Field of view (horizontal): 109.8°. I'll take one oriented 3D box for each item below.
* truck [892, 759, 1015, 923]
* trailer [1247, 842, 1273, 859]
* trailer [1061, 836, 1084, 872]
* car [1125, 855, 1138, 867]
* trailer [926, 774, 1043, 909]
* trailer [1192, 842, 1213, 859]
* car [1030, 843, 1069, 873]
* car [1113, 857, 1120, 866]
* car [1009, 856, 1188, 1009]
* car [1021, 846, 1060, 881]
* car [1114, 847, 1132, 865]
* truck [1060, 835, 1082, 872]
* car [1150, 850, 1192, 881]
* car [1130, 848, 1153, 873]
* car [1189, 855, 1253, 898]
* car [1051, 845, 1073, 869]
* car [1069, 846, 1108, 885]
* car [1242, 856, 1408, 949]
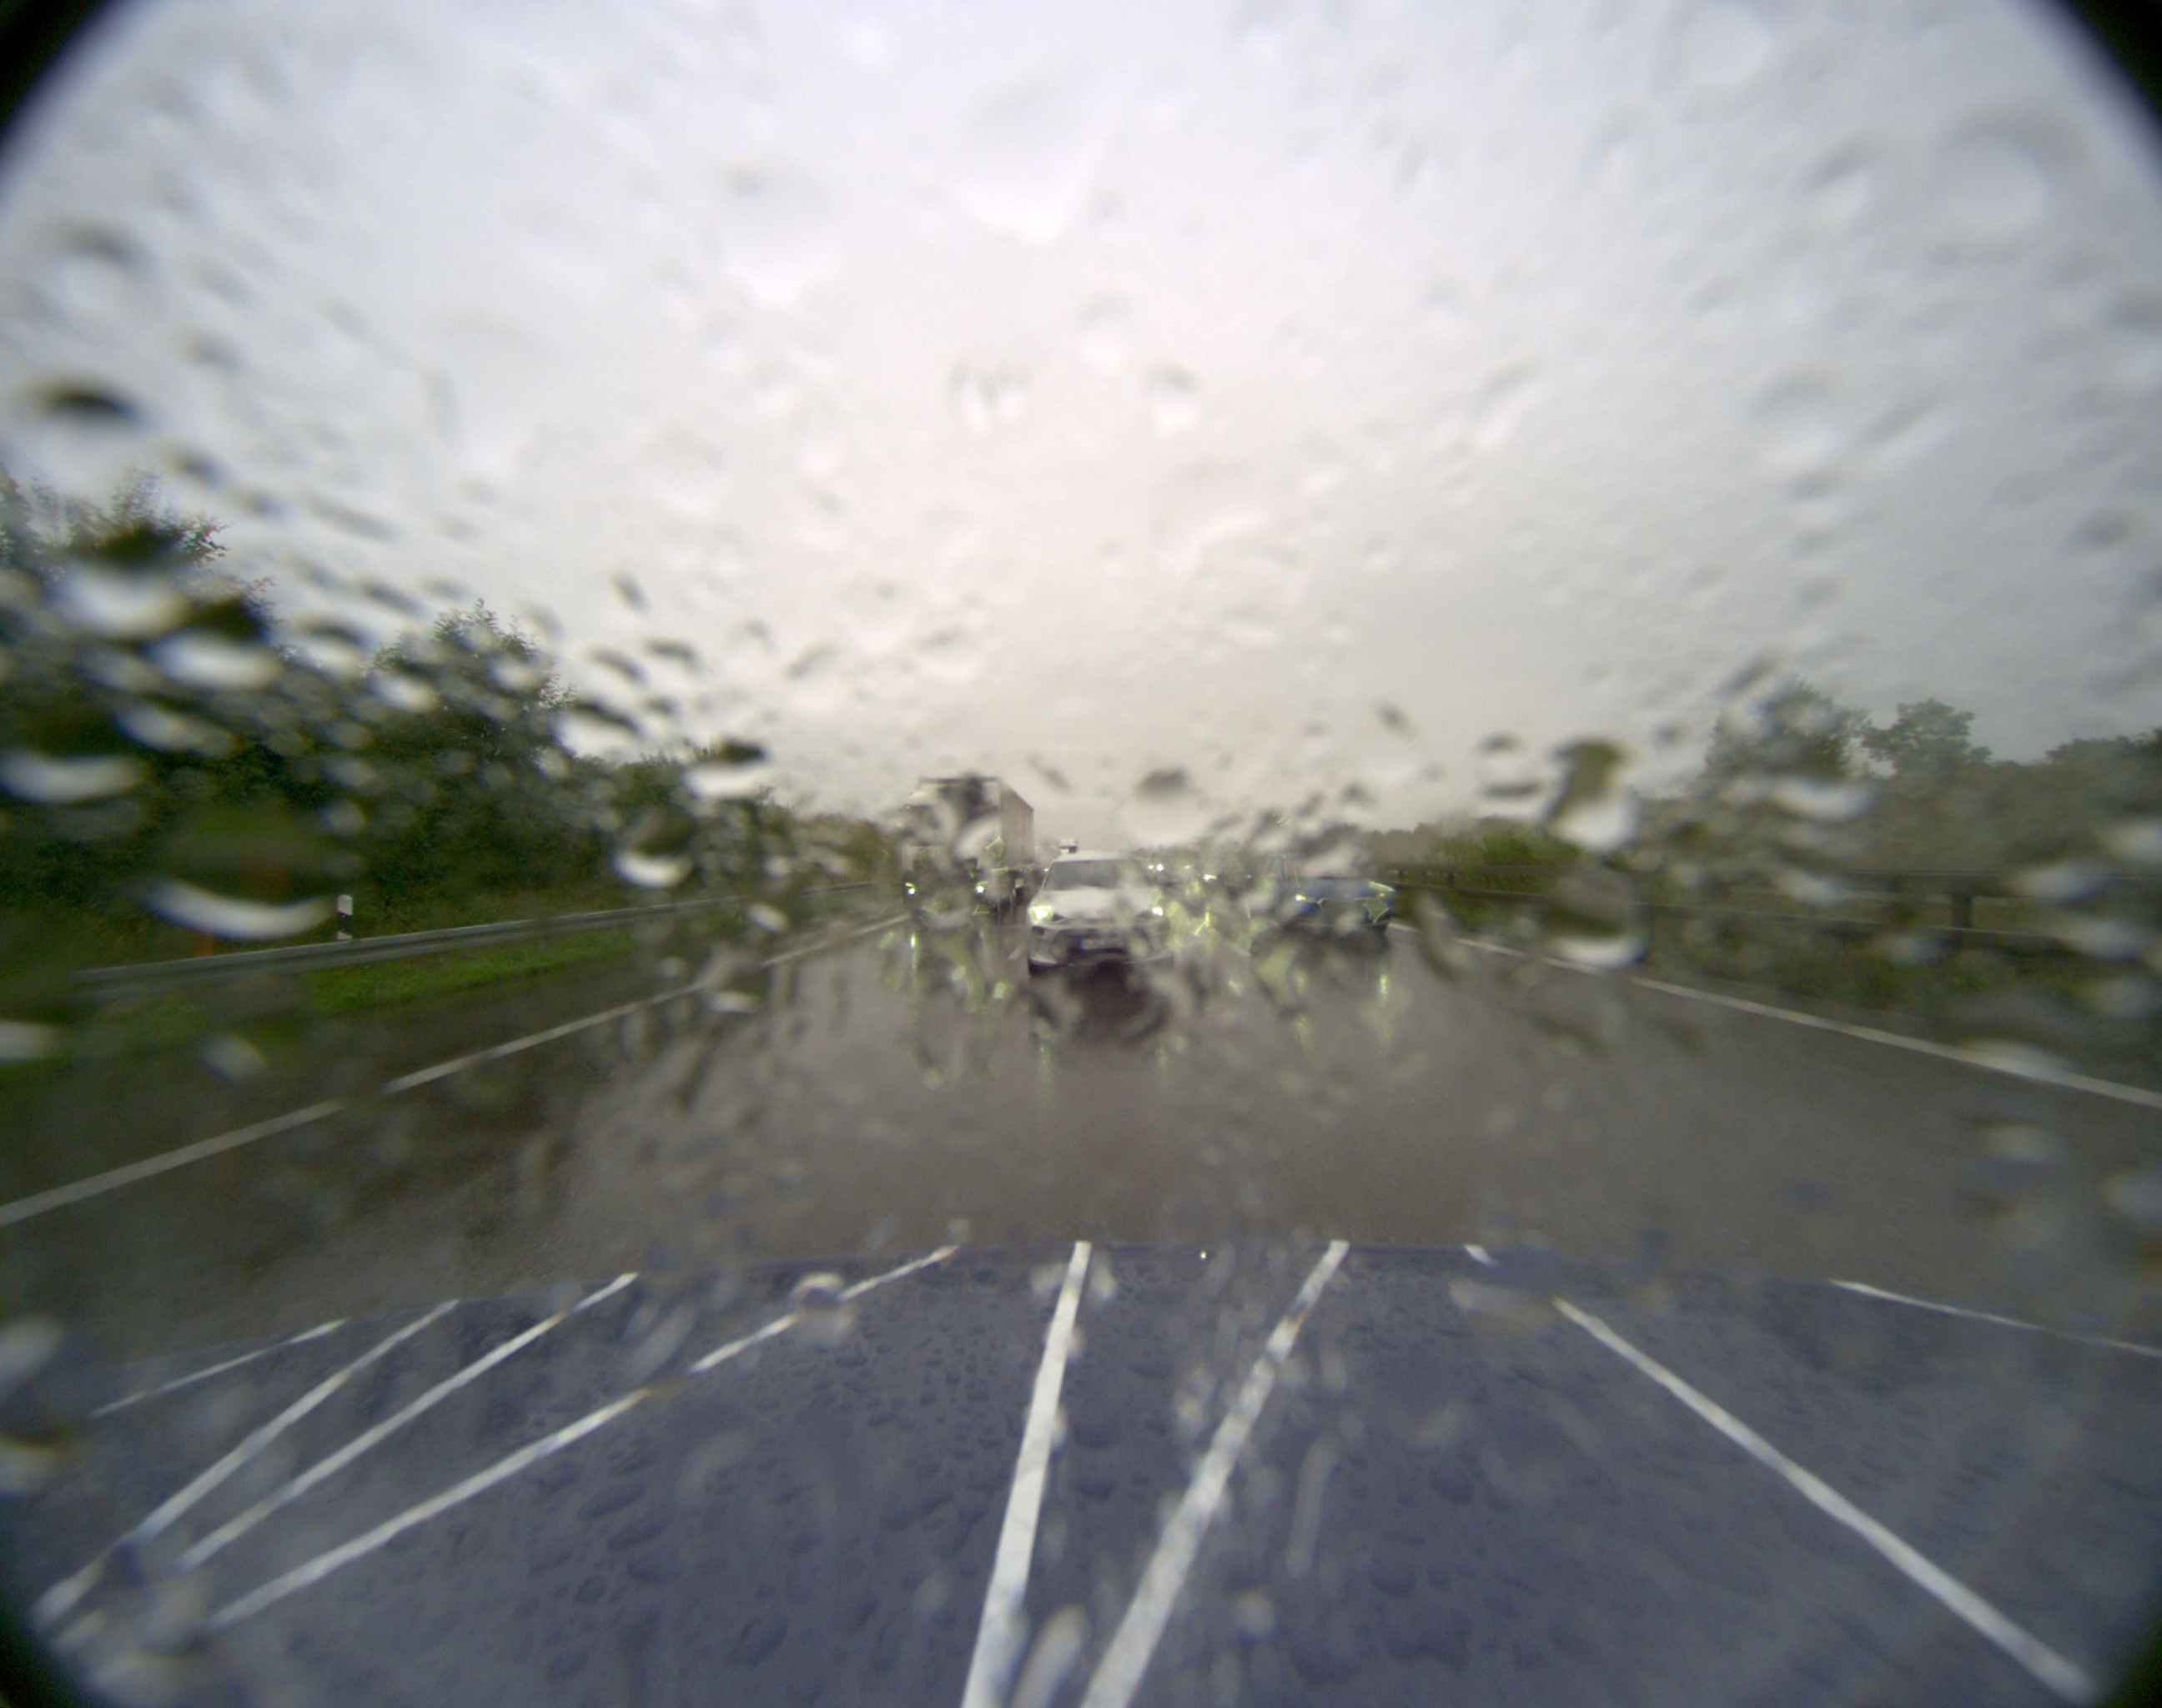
[{"bbox_3d":[-3.581,-0.356,22.593,2.633,4.229,5.043,-2,1,0],"label":"truck"},{"bbox_3d":[23.518,-0.494,100.098,2.097,2.002,5.349,0,2,0],"label":"trailer"},{"bbox_3d":[-1.113,0.003,103.132,2.628,4.634,9.222,-2,0,1],"label":"trailer"},{"bbox_3d":[6.455,0.876,97.545,1.458,1.540,2.804,0,2,1],"label":"car"},{"bbox_3d":[-3.437,-0.440,31.339,2.633,4.224,14.175,-2,0,1],"label":"trailer"},{"bbox_3d":[19.724,-0.619,123.729,2.487,2.704,7.323,0,2,2],"label":"trailer"},{"bbox_3d":[-2.198,0.251,53.958,2.260,2.002,4.270,-2,1,4],"label":"car"},{"bbox_3d":[6.663,1.426,142.131,1.279,1.567,2.848,-2,0,1],"label":"car"},{"bbox_3d":[0.219,0.861,10.214,1.893,1.578,4.000,-2,0,1],"label":"car"},{"bbox_3d":[-2.469,0.566,47.516,1.946,2.002,4.447,-2,1,3],"label":"car"},{"bbox_3d":[4.761,0.250,86.490,1.737,2.002,4.223,-1,0,1],"label":"car"},{"bbox_3d":[-1.239,-0.045,97.810,2.628,4.635,4.290,-2,0,1],"label":"truck"},{"bbox_3d":[5.054,0.609,43.104,1.888,1.622,4.269,-1,0,1],"label":"car"},{"bbox_3d":[5.164,0.554,64.916,1.888,2.002,4.270,-1,0,4],"label":"car"},{"bbox_3d":[5.128,0.772,28.274,1.613,1.428,4.370,-1,0,1],"label":"car"},{"bbox_3d":[-1.912,0.277,76.072,1.998,2.231,4.000,-1,0,1],"label":"car"},{"bbox_3d":[0.473,0.623,41.841,1.998,2.002,4.000,-1,0,2],"label":"car"},{"bbox_3d":[4.456,0.794,14.659,1.790,1.467,4.512,-1,0,1],"label":"car"}]
